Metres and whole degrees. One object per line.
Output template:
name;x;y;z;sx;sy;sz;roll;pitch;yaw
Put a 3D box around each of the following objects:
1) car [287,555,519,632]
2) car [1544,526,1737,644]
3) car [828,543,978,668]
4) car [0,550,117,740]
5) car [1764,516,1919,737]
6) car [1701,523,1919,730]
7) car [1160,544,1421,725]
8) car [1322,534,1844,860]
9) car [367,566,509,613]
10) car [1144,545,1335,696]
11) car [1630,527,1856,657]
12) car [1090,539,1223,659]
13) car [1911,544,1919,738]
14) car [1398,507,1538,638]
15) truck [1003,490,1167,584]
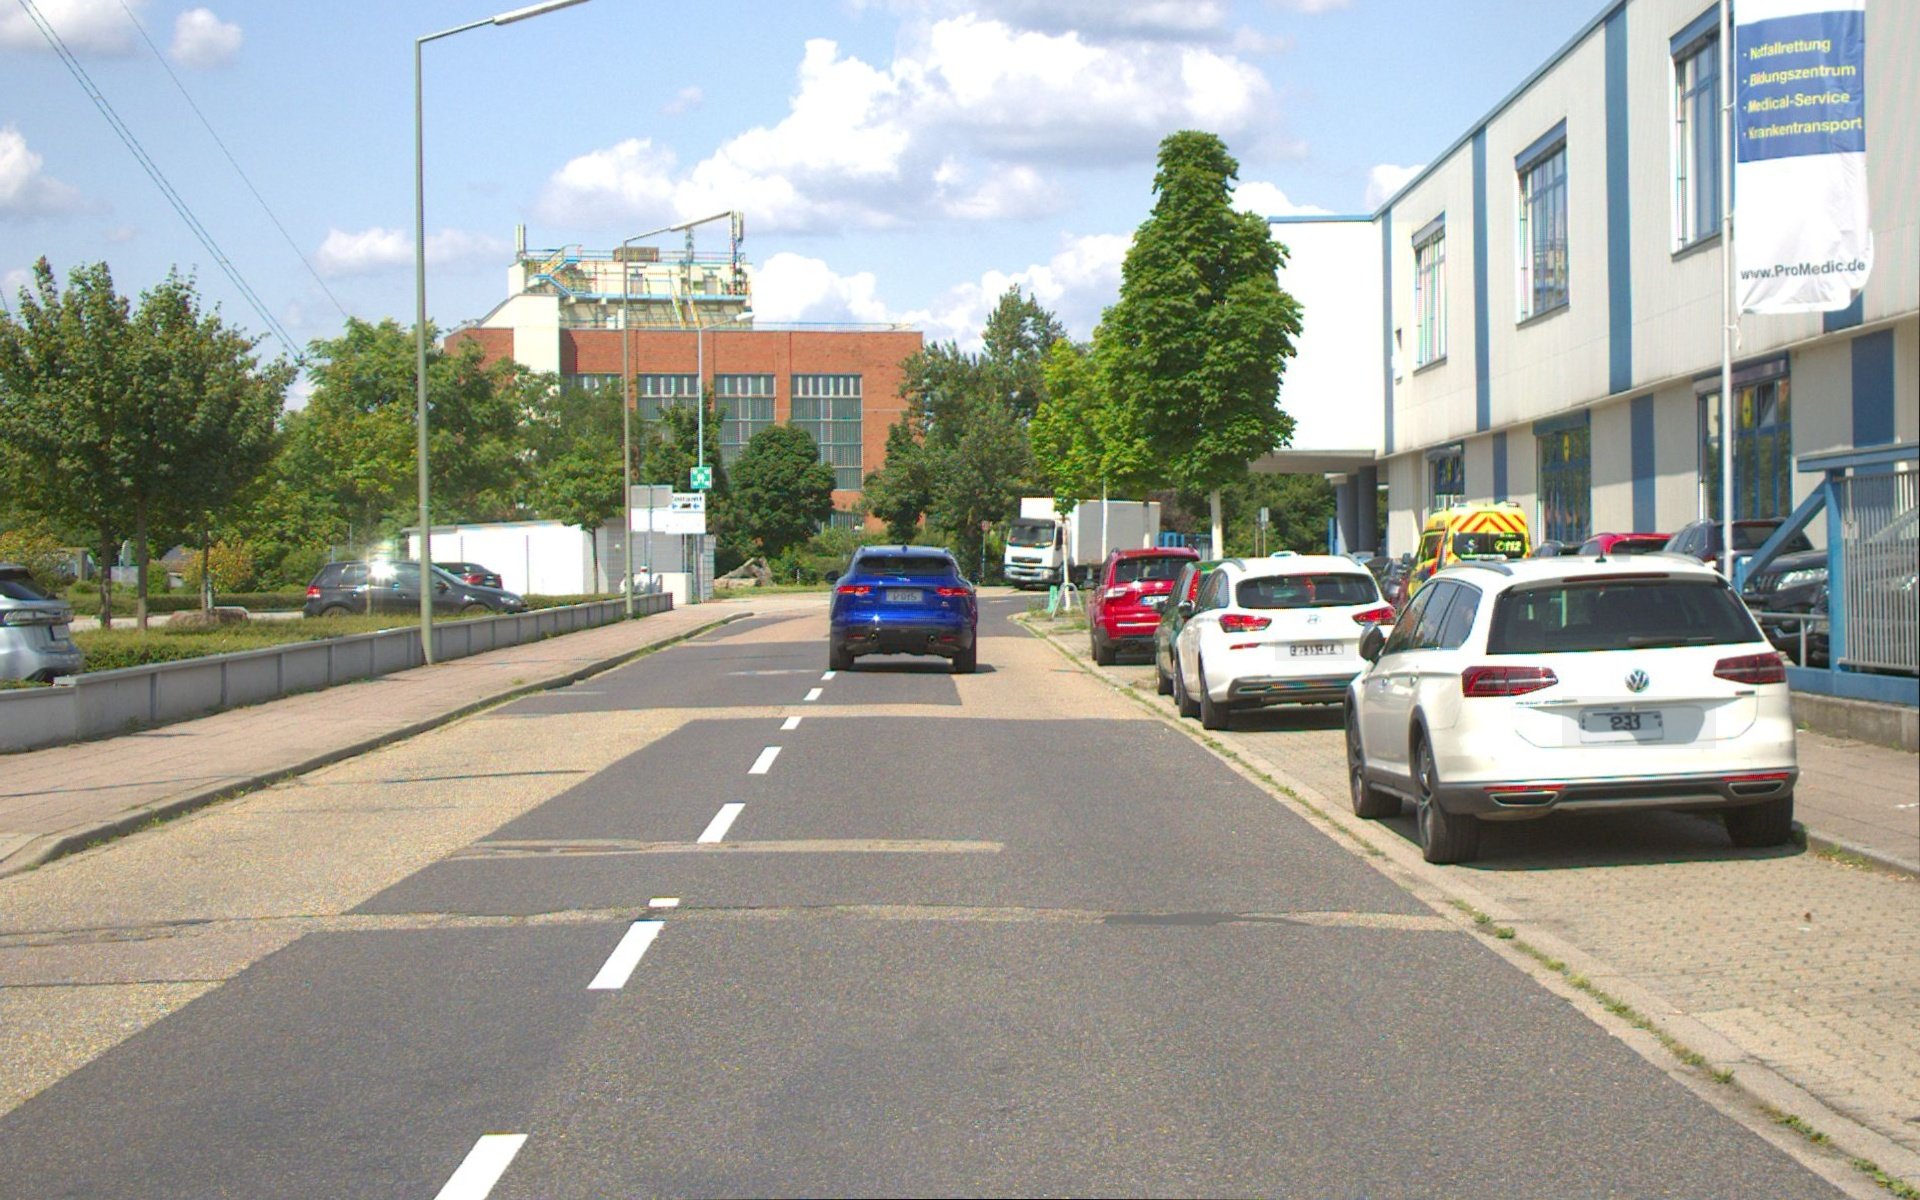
car;-10.227;-0.128;63.324;3.987;1.371;1.804;0;1;0
car;10.066;-0.187;51.167;1.993;1.651;4.290;0;-1;0
car;-0.770;0.064;46.274;1.909;1.588;4.701;0;0;-1
car;-9.999;0.438;30.123;4.754;1.597;2.000;-2;0;-4
car;8.629;0.181;26.716;4.225;1.641;2.148;0;0;-2
car;8.527;0.199;28.985;4.083;1.680;2.000;0;0;-2
car;2.896;0.283;31.016;1.835;1.515;4.461;0;0;-1
car;3.156;0.449;18.359;1.867;1.515;4.598;0;0;-1
car;-15.478;-0.314;101.978;3.995;1.373;1.800;0;1;34
car;2.919;0.201;36.624;1.668;1.515;3.995;0;0;-1
car;10.051;-0.060;44.472;1.827;1.507;4.640;0;-2;0
car;2.793;-0.022;49.653;1.755;1.645;4.677;0;0;1
car;9.157;0.275;24.335;4.279;1.415;2.000;-1;1;0
car;9.914;-0.527;67.460;1.924;2.455;5.259;0;0;0
truck;5.025;-2.514;136.206;2.325;3.555;9.351;2;2;30
